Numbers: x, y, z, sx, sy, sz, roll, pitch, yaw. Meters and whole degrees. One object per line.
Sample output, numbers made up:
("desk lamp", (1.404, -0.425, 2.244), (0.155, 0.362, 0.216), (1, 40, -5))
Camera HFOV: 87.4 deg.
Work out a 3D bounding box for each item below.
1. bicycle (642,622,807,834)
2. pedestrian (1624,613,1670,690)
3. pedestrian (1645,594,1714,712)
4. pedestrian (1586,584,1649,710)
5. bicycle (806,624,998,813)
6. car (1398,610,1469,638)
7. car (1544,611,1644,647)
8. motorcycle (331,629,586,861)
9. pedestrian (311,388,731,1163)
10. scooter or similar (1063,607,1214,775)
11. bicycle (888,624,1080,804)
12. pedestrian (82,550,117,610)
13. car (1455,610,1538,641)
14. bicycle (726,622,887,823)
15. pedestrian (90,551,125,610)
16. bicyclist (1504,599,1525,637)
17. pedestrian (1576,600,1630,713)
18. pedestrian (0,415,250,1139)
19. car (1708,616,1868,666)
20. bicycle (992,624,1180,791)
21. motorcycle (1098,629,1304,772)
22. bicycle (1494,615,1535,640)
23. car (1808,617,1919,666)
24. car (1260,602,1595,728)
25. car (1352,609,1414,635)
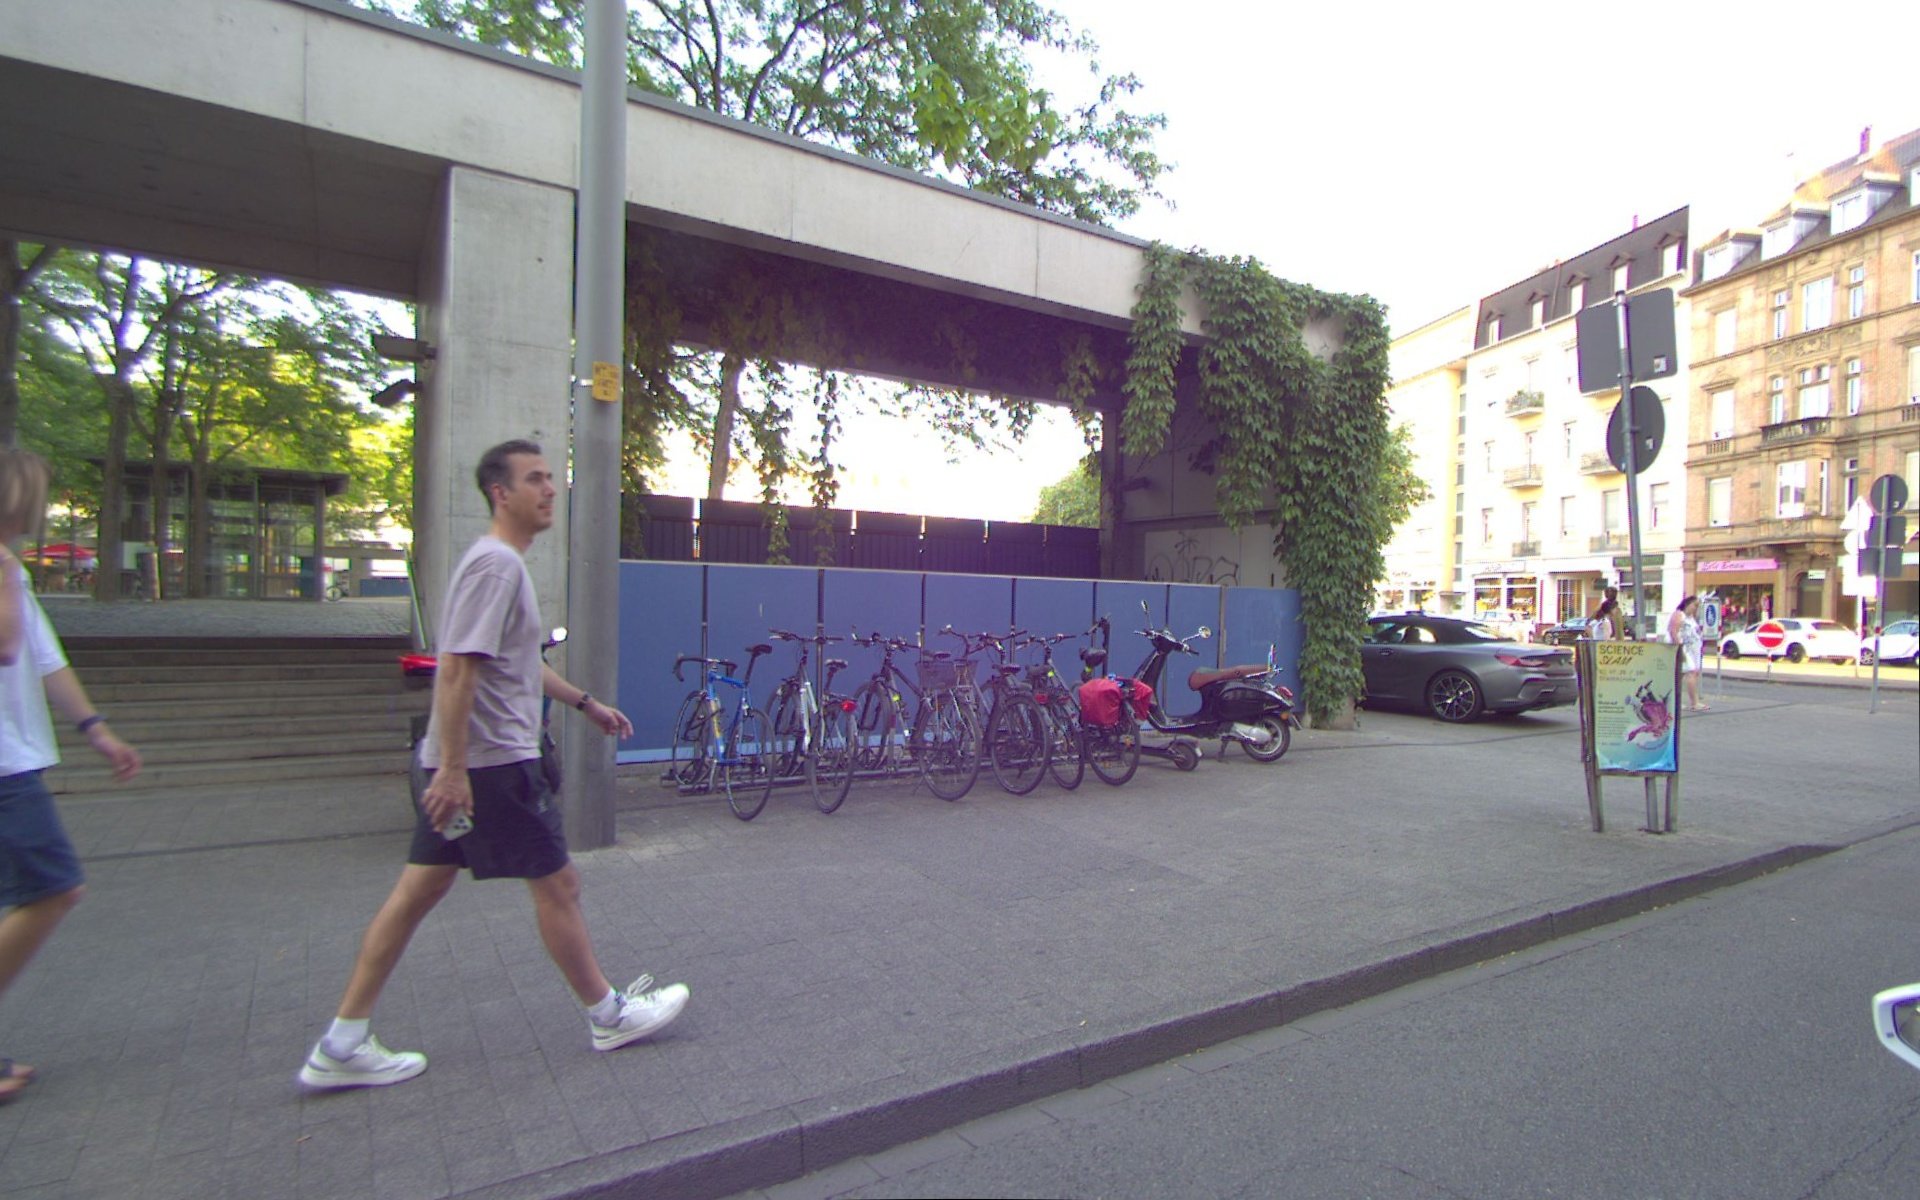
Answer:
("bicycle", (-1.610, 0.752, 6.638), (0.495, 1.122, 1.784), (1, 2, -32))
("pedestrian", (13.208, 0.976, 19.320), (0.461, 1.428, 0.537), (2, 1, -1))
("pedestrian", (11.098, 0.802, 15.510), (0.644, 1.769, 0.674), (1, 0, 13))
("pedestrian", (10.231, 0.719, 15.643), (0.625, 1.907, 0.581), (1, 0, -26))
("bicycle", (-0.481, 0.783, 7.338), (0.495, 1.122, 1.781), (1, 2, -36))
("car", (27.492, 1.346, 58.431), (1.767, 1.530, 3.994), (2, -1, -9))
("car", (29.493, 1.314, 46.857), (1.767, 1.530, 3.994), (2, -1, -9))
("motorcycle", (-2.866, 0.767, 5.977), (0.750, 1.078, 1.804), (2, 1, -6))
("pedestrian", (-1.336, 0.438, 3.065), (1.038, 1.919, 0.740), (1, 2, -31))
("scooter or similar", (1.501, 0.735, 8.571), (1.191, 1.291, 0.419), (3, 2, 43))
("bicycle", (0.125, 0.793, 7.680), (0.495, 1.122, 1.783), (1, 2, -34))
("pedestrian", (-34.115, -0.776, 39.821), (0.726, 2.362, 0.815), (1, 0, -9))
("car", (28.124, 1.312, 52.798), (1.767, 1.530, 3.994), (2, -1, -9))
("bicycle", (-1.116, 0.761, 6.958), (0.494, 1.122, 1.786), (1, 1, -29))
("pedestrian", (-34.551, -0.775, 40.708), (0.726, 2.362, 0.815), (1, 0, -10))
("bicyclist", (25.892, 0.830, 46.923), (0.517, 1.780, 0.617), (1, 1, -17))
("pedestrian", (9.729, 0.839, 15.198), (0.514, 1.665, 0.498), (1, 0, -30))
("pedestrian", (-2.651, 0.445, 2.832), (0.998, 1.837, 0.737), (1, 1, -33))
("car", (27.386, 1.320, 33.409), (1.848, 1.492, 3.997), (1, 0, -5))
("bicycle", (0.974, 0.810, 8.240), (0.494, 1.122, 1.784), (1, 2, -31))
("motorcycle", (2.182, 0.876, 9.156), (1.718, 1.116, 0.566), (3, 2, 24))
("bicycle", (25.880, 1.277, 46.918), (0.529, 1.122, 1.793), (1, 1, -16))
("car", (31.273, 1.376, 33.796), (1.767, 1.530, 3.994), (2, -1, -9))
("car", (6.560, 0.810, 14.426), (1.875, 1.521, 3.954), (1, 0, -39))
("car", (27.030, 1.383, 64.334), (1.767, 1.530, 3.994), (2, -1, -9))
